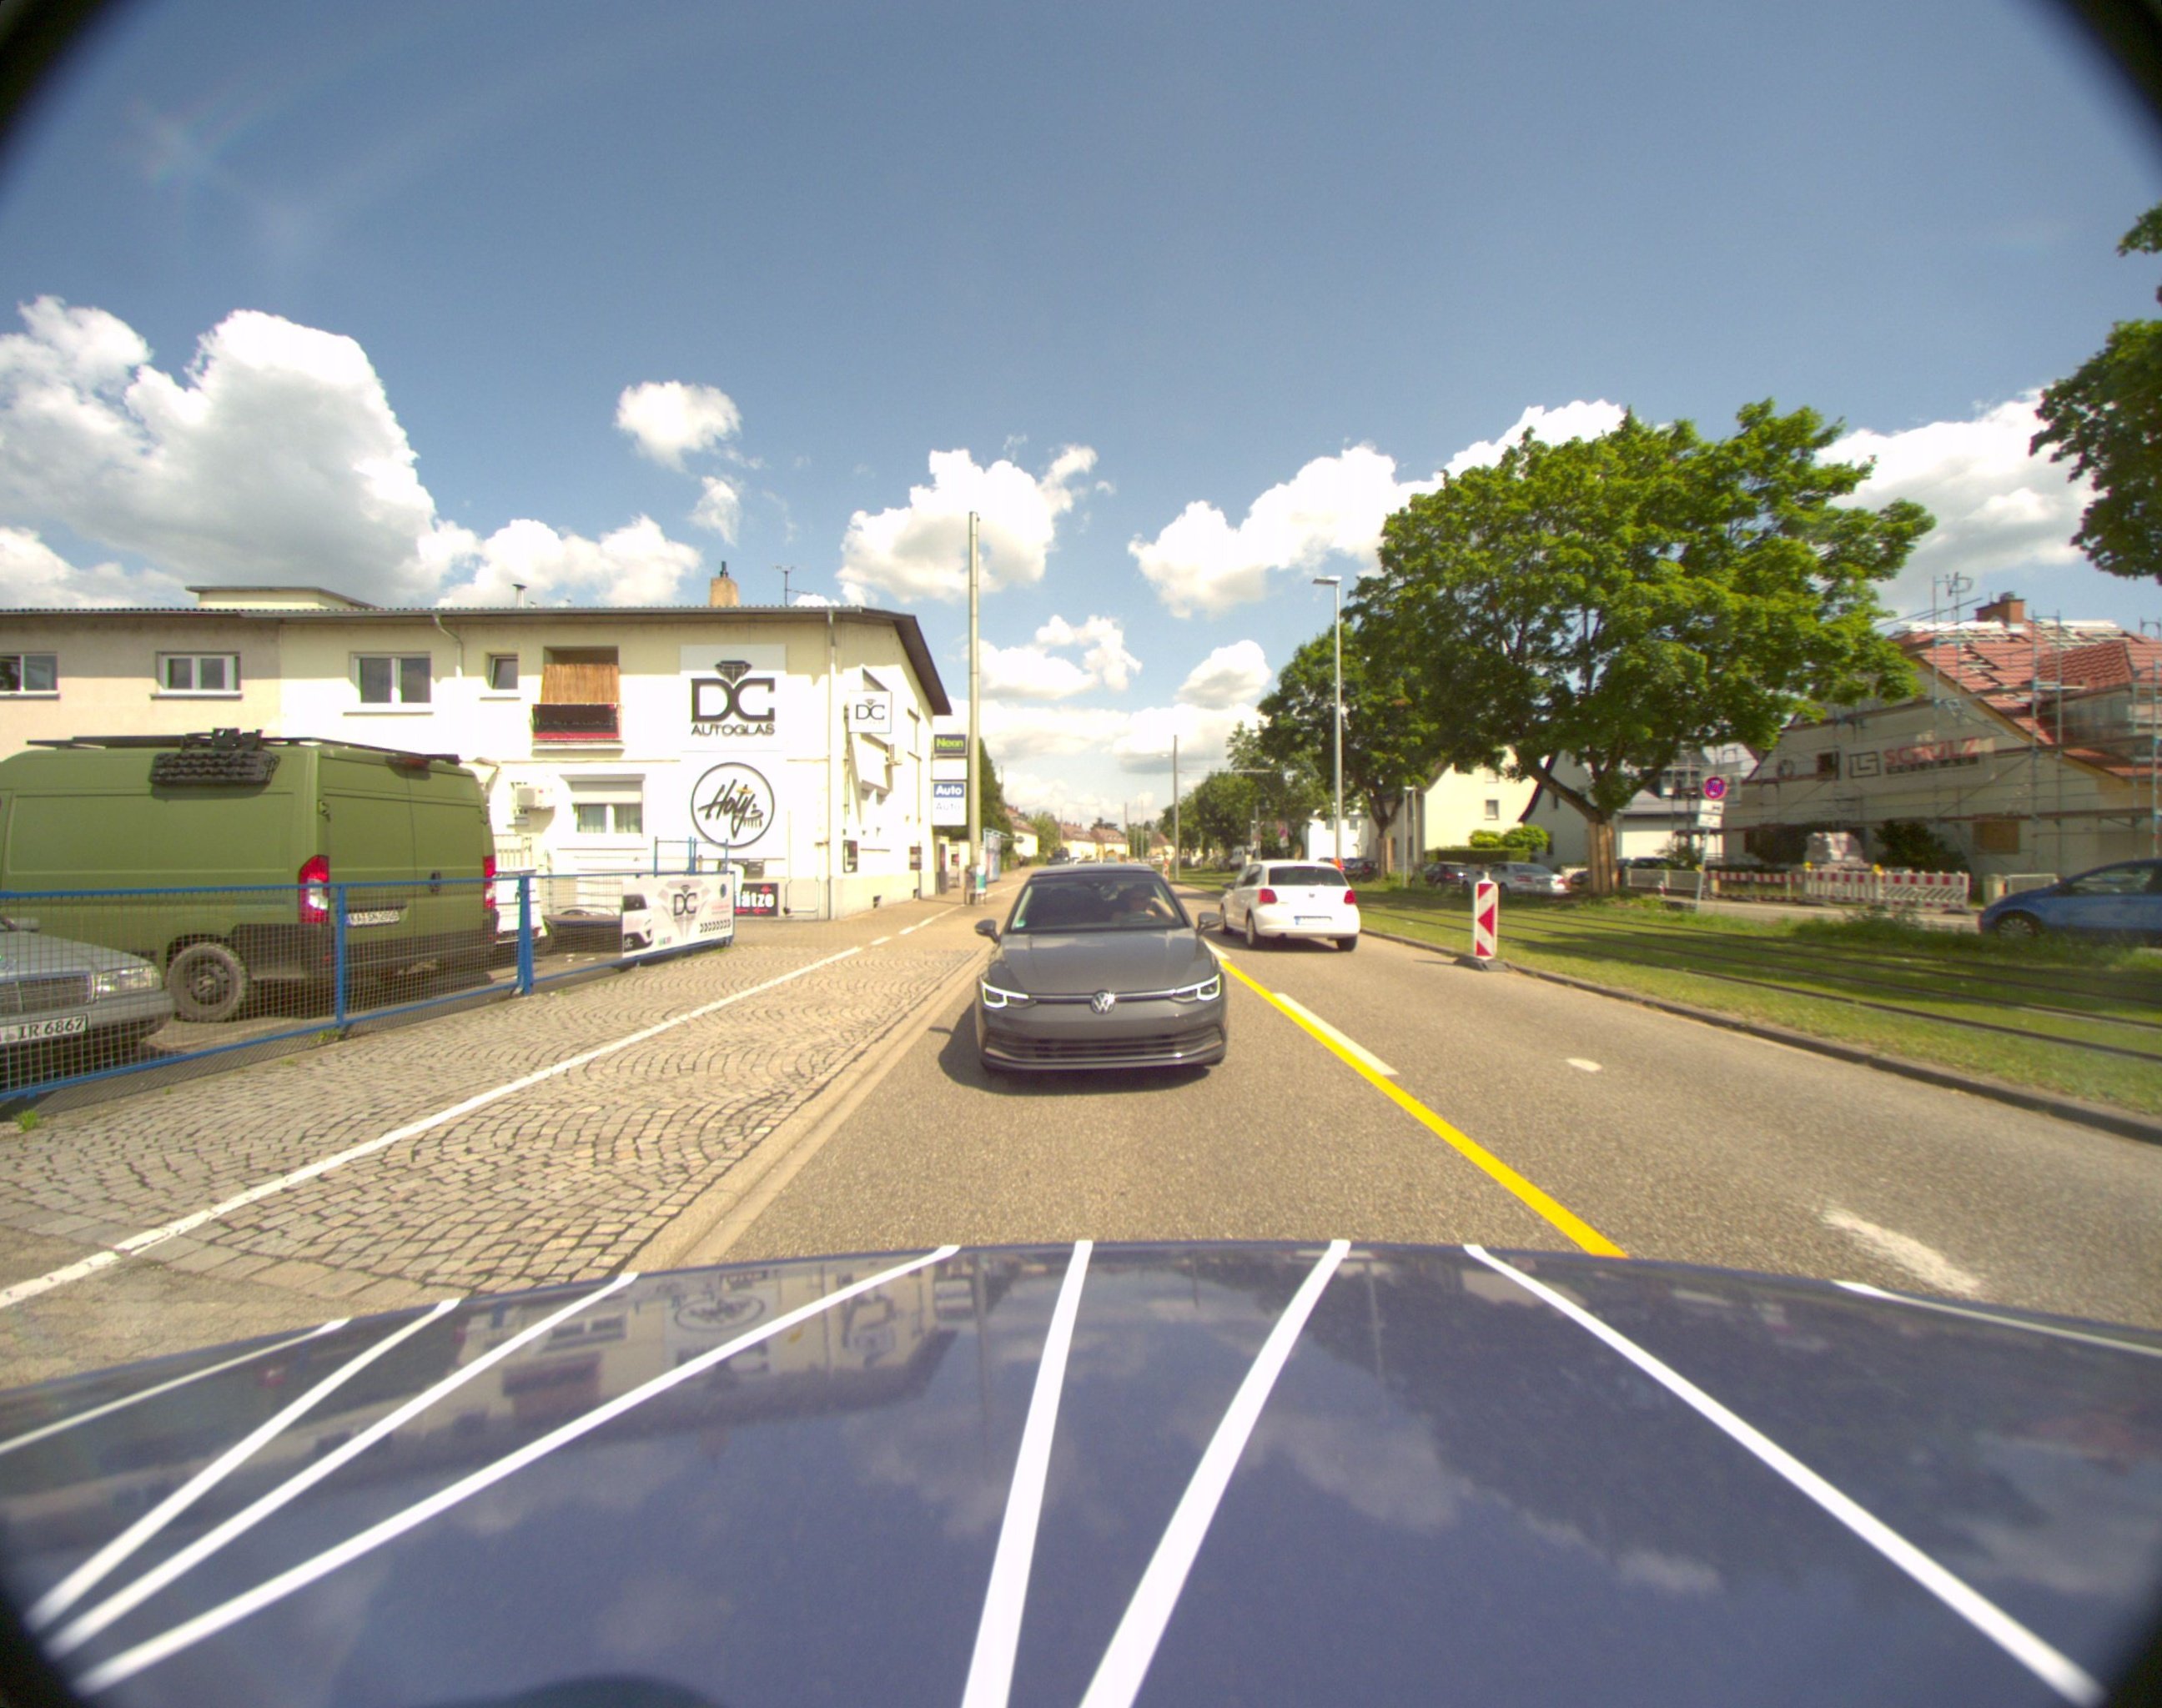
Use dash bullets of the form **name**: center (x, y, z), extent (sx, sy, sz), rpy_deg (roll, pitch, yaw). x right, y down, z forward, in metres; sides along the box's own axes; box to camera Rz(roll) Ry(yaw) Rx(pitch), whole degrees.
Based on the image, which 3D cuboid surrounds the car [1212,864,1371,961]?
- **car**: center (3.527, 0.910, 13.540), extent (1.719, 1.405, 4.262), rpy_deg (0, 0, 1)

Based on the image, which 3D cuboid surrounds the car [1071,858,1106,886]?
- **car**: center (0.413, 0.942, 41.743), extent (1.787, 1.470, 4.009), rpy_deg (0, 0, 1)

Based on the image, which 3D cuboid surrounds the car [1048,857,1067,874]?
- **car**: center (-2.165, 1.062, 70.989), extent (1.720, 1.470, 4.009), rpy_deg (0, 0, 0)

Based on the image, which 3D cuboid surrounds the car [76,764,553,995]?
- **car**: center (-9.458, 0.298, 9.653), extent (4.209, 2.653, 1.803), rpy_deg (0, 0, 0)

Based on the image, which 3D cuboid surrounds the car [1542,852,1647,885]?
- **car**: center (25.508, 0.716, 37.835), extent (4.047, 1.602, 1.757), rpy_deg (0, 0, 1)

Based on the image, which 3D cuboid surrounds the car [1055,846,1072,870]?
- **car**: center (-1.923, 0.406, 82.850), extent (1.720, 2.526, 5.794), rpy_deg (0, 0, 0)

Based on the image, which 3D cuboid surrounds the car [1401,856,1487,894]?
- **car**: center (16.586, 0.912, 35.032), extent (1.755, 1.602, 4.606), rpy_deg (0, 0, 0)

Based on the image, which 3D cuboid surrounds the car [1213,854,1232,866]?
- **car**: center (19.953, 0.818, 107.175), extent (1.755, 1.602, 4.606), rpy_deg (0, 0, 0)

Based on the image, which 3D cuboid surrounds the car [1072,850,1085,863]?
- **car**: center (-0.435, 0.394, 136.324), extent (1.719, 2.360, 5.211), rpy_deg (0, 0, 5)

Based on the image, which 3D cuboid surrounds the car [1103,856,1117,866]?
- **car**: center (4.085, 0.984, 107.099), extent (1.755, 1.405, 4.262), rpy_deg (0, 0, 1)

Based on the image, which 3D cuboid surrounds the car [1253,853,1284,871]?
- **car**: center (17.580, 0.751, 71.498), extent (1.755, 1.602, 4.606), rpy_deg (0, 0, 0)

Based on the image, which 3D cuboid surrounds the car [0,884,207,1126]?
- **car**: center (-8.439, 0.914, 4.811), extent (4.206, 1.388, 1.804), rpy_deg (0, 0, 8)

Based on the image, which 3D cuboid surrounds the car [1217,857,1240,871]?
- **car**: center (16.927, 1.147, 87.272), extent (1.755, 1.602, 4.606), rpy_deg (0, 0, 0)

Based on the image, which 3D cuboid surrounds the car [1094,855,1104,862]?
- **car**: center (4.098, 0.989, 172.738), extent (1.718, 1.470, 4.011), rpy_deg (0, 0, 8)

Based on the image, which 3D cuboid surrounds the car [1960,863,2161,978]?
- **car**: center (16.220, 0.954, 11.234), extent (1.755, 1.602, 4.050), rpy_deg (0, 0, 0)

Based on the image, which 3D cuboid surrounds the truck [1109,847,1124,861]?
- **truck**: center (9.397, 0.015, 201.137), extent (2.590, 3.431, 8.585), rpy_deg (0, 0, 11)

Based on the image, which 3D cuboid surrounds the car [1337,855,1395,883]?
- **car**: center (16.897, 0.846, 45.270), extent (1.755, 1.602, 4.606), rpy_deg (0, 0, 0)

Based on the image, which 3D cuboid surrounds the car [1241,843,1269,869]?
- **car**: center (17.615, 0.192, 77.085), extent (1.755, 2.601, 4.606), rpy_deg (0, 0, 0)

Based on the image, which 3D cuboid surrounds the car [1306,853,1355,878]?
- **car**: center (16.675, 0.759, 50.910), extent (1.755, 1.602, 4.606), rpy_deg (0, 0, 0)

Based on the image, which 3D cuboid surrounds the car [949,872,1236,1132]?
- **car**: center (0.097, 0.934, 6.559), extent (1.719, 1.470, 4.009), rpy_deg (0, 0, 1)

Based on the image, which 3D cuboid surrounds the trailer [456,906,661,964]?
- **trailer**: center (-8.065, 1.234, 11.838), extent (2.329, 0.762, 1.269), rpy_deg (0, 0, 2)

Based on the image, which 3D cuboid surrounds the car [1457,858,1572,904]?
- **car**: center (16.385, 0.960, 29.009), extent (1.755, 1.602, 4.606), rpy_deg (0, 0, 0)

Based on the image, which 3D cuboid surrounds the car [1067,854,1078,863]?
- **car**: center (-1.371, 0.733, 122.960), extent (1.720, 1.470, 4.009), rpy_deg (0, 0, 0)

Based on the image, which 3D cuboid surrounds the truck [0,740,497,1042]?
- **truck**: center (-8.626, 0.325, 7.568), extent (3.997, 2.592, 2.069), rpy_deg (0, 0, 1)

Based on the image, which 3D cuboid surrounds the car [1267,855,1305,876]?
- **car**: center (16.490, 0.912, 61.359), extent (1.755, 1.602, 4.606), rpy_deg (0, 0, 0)

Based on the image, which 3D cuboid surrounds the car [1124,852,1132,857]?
- **car**: center (13.523, 0.228, 218.479), extent (1.718, 1.470, 4.013), rpy_deg (0, 0, 13)

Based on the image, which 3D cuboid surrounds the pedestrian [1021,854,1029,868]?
- **pedestrian**: center (-6.295, 0.751, 85.867), extent (0.816, 1.577, 0.918), rpy_deg (0, 0, 1)

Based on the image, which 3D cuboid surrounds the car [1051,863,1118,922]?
- **car**: center (0.112, 1.007, 21.453), extent (1.719, 1.470, 4.009), rpy_deg (0, 0, 1)
